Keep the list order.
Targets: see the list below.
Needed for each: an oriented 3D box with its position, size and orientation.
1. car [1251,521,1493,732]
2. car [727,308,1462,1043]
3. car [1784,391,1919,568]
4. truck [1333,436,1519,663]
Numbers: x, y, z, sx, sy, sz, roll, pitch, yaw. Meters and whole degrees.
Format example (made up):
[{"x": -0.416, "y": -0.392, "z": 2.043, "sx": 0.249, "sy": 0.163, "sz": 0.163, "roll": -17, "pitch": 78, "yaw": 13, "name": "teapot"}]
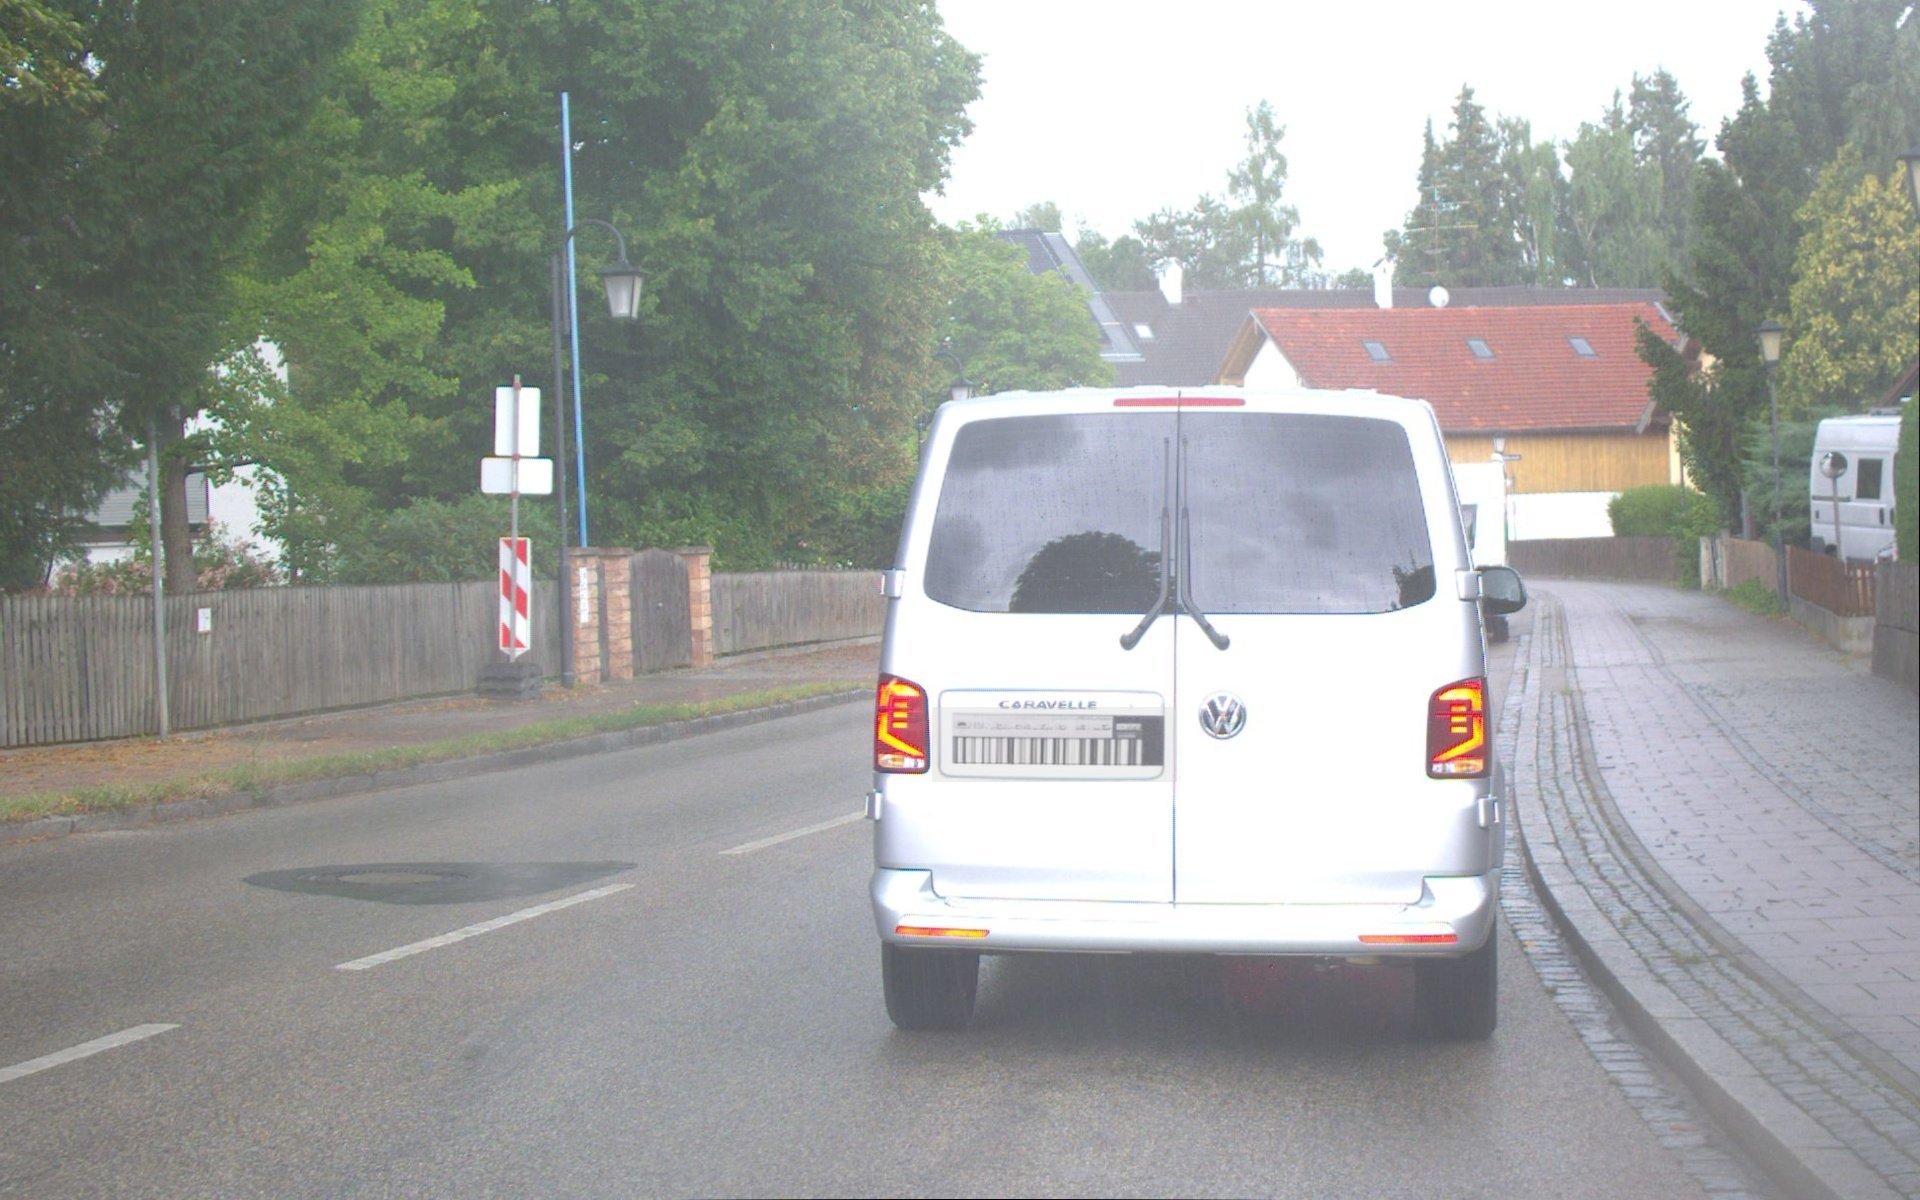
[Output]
[{"x": 3.431, "y": 0.186, "z": 28.109, "sx": 1.801, "sy": 1.583, "sz": 3.998, "roll": 1, "pitch": 0, "yaw": 9, "name": "car"}, {"x": 0.641, "y": 0.185, "z": 11.523, "sx": 1.801, "sy": 2.007, "sz": 3.998, "roll": 1, "pitch": 0, "yaw": 12, "name": "car"}, {"x": 12.618, "y": -1.525, "z": 45.333, "sx": 1.993, "sy": 2.166, "sz": 4.954, "roll": 1, "pitch": 0, "yaw": -4, "name": "car"}, {"x": 6.842, "y": -0.709, "z": 49.988, "sx": 2.476, "sy": 3.063, "sz": 6.294, "roll": 1, "pitch": 0, "yaw": 9, "name": "truck"}]
